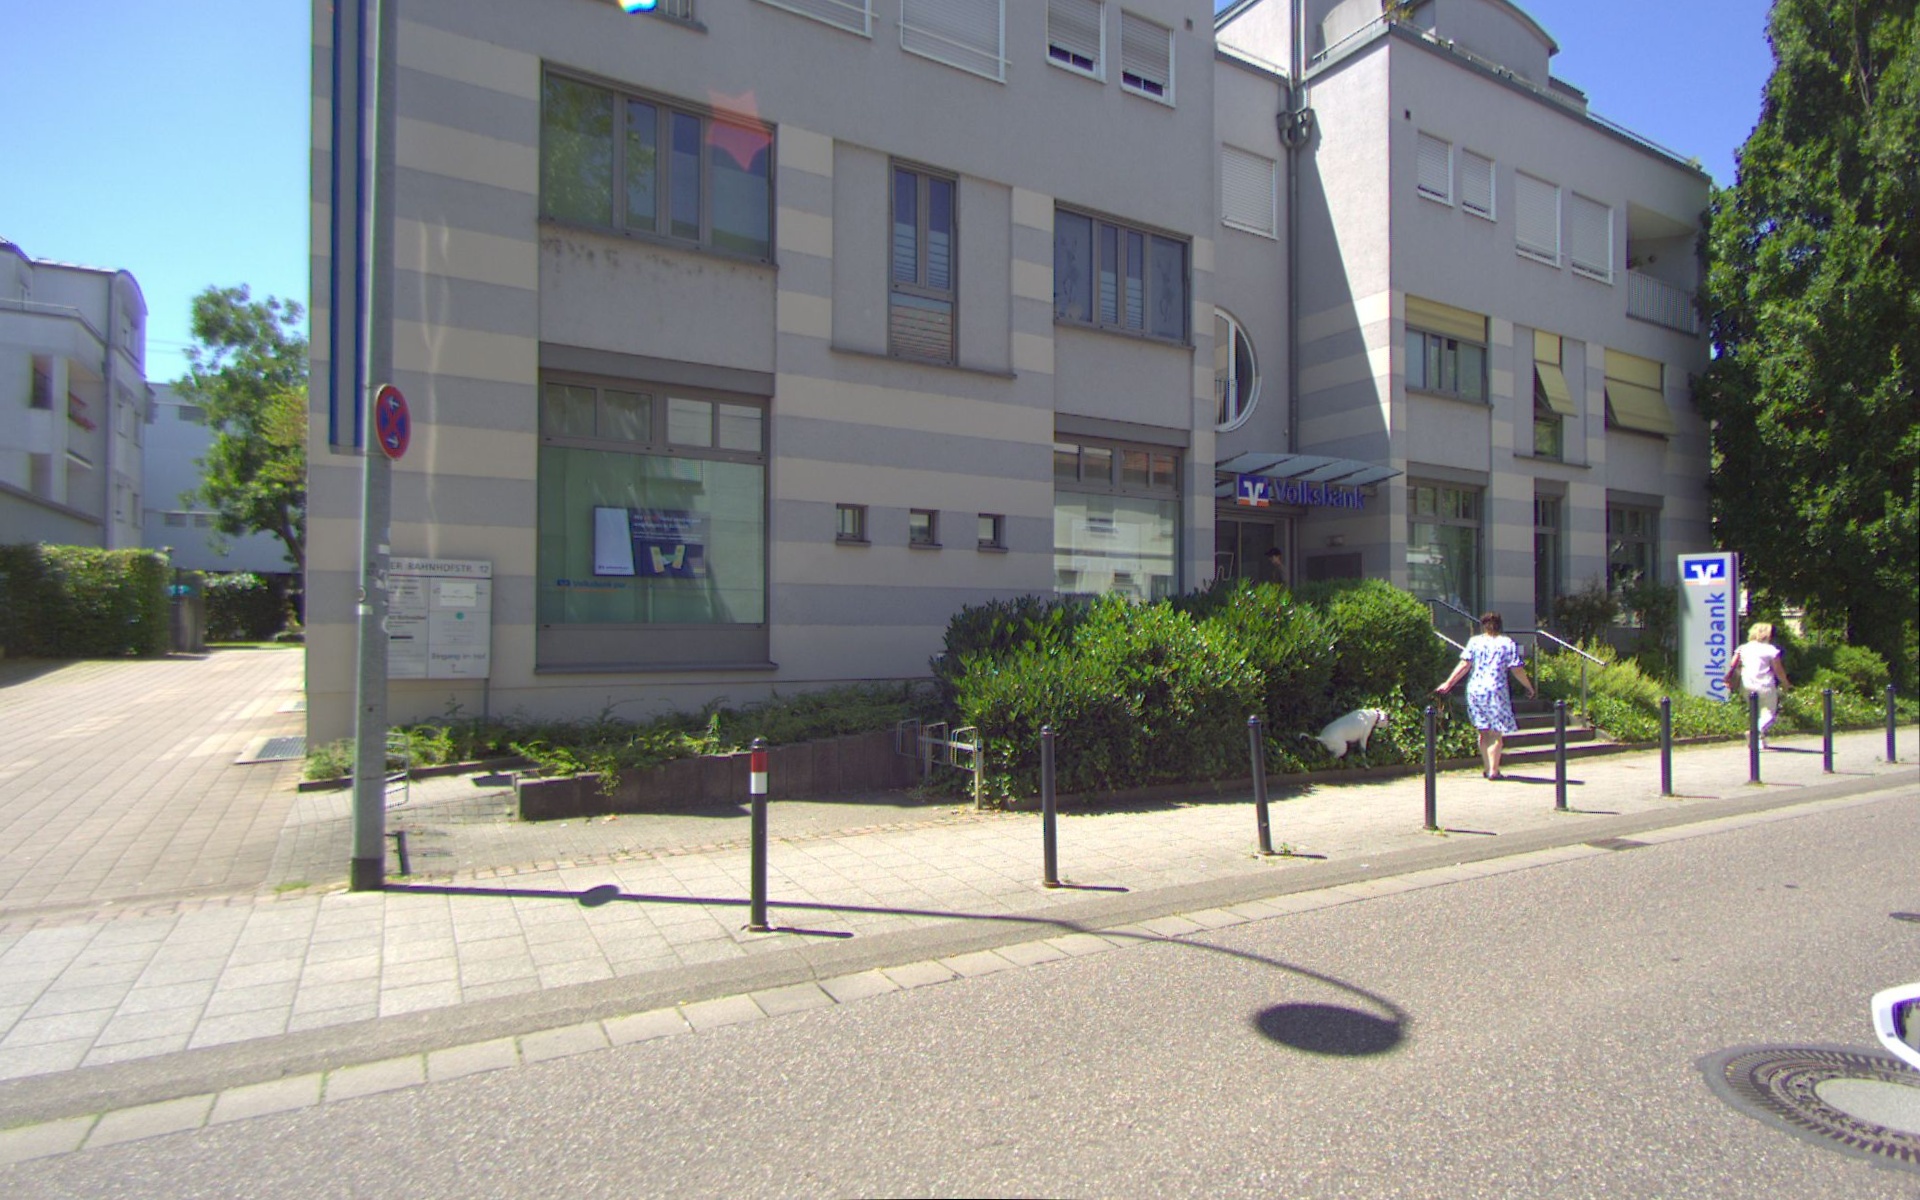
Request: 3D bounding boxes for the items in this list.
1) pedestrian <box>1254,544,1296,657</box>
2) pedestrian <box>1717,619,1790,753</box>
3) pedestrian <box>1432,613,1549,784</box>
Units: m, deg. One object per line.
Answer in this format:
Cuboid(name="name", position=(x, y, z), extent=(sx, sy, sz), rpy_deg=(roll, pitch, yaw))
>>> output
Cuboid(name="pedestrian", position=(5.019, 0.016, 15.993), extent=(0.570, 1.762, 0.611), rpy_deg=(0, -1, 25))
Cuboid(name="pedestrian", position=(10.417, 1.109, 13.196), extent=(0.700, 1.707, 0.534), rpy_deg=(1, -1, -30))
Cuboid(name="pedestrian", position=(5.444, 0.972, 10.314), extent=(0.838, 1.666, 0.745), rpy_deg=(1, -1, -31))
